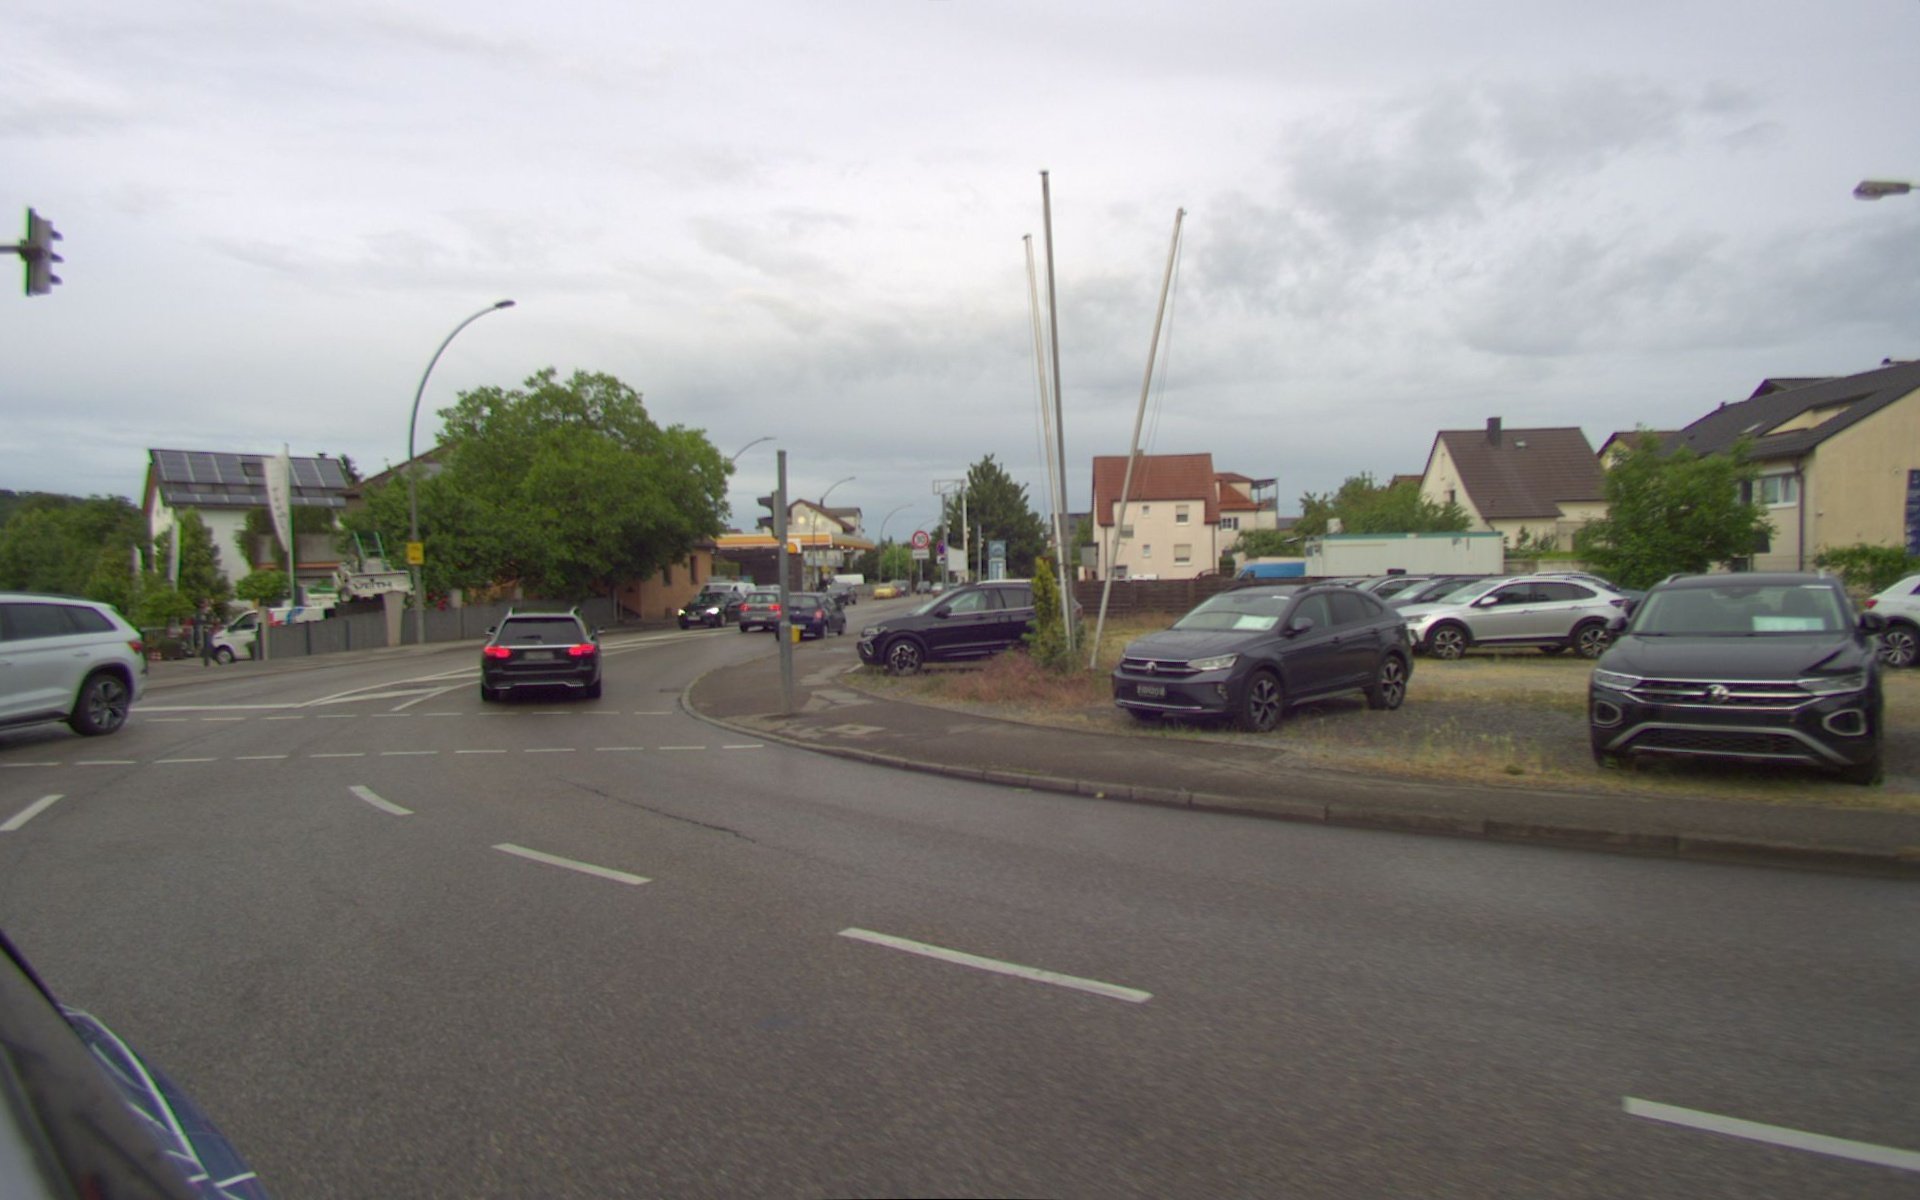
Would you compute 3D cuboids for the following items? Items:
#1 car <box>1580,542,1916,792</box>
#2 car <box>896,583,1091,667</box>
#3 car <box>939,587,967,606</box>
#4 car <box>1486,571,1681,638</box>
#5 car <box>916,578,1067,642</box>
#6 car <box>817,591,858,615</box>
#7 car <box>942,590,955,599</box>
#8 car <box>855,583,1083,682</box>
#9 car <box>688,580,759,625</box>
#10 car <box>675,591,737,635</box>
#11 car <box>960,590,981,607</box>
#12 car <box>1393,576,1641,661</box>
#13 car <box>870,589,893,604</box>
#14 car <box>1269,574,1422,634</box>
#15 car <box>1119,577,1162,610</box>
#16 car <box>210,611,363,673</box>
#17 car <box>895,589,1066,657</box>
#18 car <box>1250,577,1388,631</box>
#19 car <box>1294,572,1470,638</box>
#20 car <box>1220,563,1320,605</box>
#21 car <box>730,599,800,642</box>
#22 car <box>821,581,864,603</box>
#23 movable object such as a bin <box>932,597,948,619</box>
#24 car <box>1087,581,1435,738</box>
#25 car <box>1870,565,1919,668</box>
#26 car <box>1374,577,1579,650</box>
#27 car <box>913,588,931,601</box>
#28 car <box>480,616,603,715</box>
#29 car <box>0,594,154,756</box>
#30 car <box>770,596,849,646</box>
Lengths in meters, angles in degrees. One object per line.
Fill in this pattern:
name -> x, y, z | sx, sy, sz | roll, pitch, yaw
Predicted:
car -> 6.618, 0.465, 8.409 | 1.757, 1.567, 3.944 | -3, -2, 42
car -> 0.736, 0.510, 21.372 | 3.910, 1.542, 1.688 | -3, 0, 6
car -> -0.517, -0.274, 78.208 | 1.790, 1.413, 3.938 | 0, 1, 5
car -> 16.409, 0.121, 26.827 | 3.955, 1.563, 1.748 | -3, 0, 10
car -> 0.913, 0.273, 27.783 | 3.953, 1.555, 1.799 | -2, 0, 8
car -> -9.058, 0.233, 75.294 | 2.072, 1.674, 4.550 | -3, 0, 6
car -> -1.887, -0.851, 164.489 | 1.735, 1.429, 4.104 | -1, 0, 5
car -> 0.097, 0.561, 18.346 | 3.899, 1.542, 1.624 | -2, 0, -4
car -> -11.463, 0.119, 49.309 | 1.762, 2.044, 4.742 | -3, 0, 7
car -> -10.003, 0.479, 40.127 | 1.752, 1.573, 4.005 | -2, 0, -5
car -> 0.933, -0.112, 88.078 | 1.531, 1.413, 3.591 | 0, 1, 5
car -> 10.383, 0.325, 19.096 | 3.728, 1.475, 1.587 | 1, 0, 7
car -> -7.508, -0.335, 97.231 | 1.640, 1.412, 3.796 | -1, 1, 5
car -> 10.573, 0.115, 27.938 | 3.602, 1.439, 1.588 | -3, 0, 8
car -> 11.222, -0.426, 63.208 | 1.973, 1.945, 5.050 | 0, 1, 3
car -> -23.307, 1.434, 35.078 | 4.087, 1.884, 1.996 | -3, 0, 7
car -> 0.557, 0.532, 24.653 | 3.953, 1.452, 1.799 | -2, 0, 8
car -> 10.775, 0.133, 30.610 | 3.601, 1.439, 1.588 | -3, 0, 8
car -> 10.348, 0.124, 25.001 | 3.594, 1.439, 1.592 | -3, 0, 0
car -> 19.466, -1.005, 63.774 | 5.618, 2.392, 2.044 | -2, 1, 6
car -> -7.104, 0.762, 37.162 | 1.706, 1.467, 3.997 | -1, -2, 2
car -> -14.136, -0.961, 121.761 | 4.722, 2.539, 2.254 | -1, 0, -16
movable object such as a bin -> -1.045, 0.419, 52.884 | 0.701, 1.138, 0.734 | -2, 1, 6
car -> 3.515, 0.598, 11.580 | 3.917, 1.502, 1.761 | 0, -2, -36
car -> 15.694, 0.195, 14.261 | 1.685, 1.567, 4.009 | -2, 0, -11
car -> 11.162, 0.284, 22.034 | 3.594, 1.385, 1.517 | -3, 0, 0
car -> -4.845, -0.642, 129.000 | 1.974, 1.608, 3.995 | -1, 0, 4
car -> -6.987, 0.985, 17.015 | 1.682, 1.402, 4.364 | 0, -1, -22
car -> -10.857, 0.787, 10.174 | 1.857, 1.673, 4.834 | -1, 0, -3
car -> -4.757, 0.622, 32.484 | 1.612, 1.444, 3.676 | -1, 1, 7
